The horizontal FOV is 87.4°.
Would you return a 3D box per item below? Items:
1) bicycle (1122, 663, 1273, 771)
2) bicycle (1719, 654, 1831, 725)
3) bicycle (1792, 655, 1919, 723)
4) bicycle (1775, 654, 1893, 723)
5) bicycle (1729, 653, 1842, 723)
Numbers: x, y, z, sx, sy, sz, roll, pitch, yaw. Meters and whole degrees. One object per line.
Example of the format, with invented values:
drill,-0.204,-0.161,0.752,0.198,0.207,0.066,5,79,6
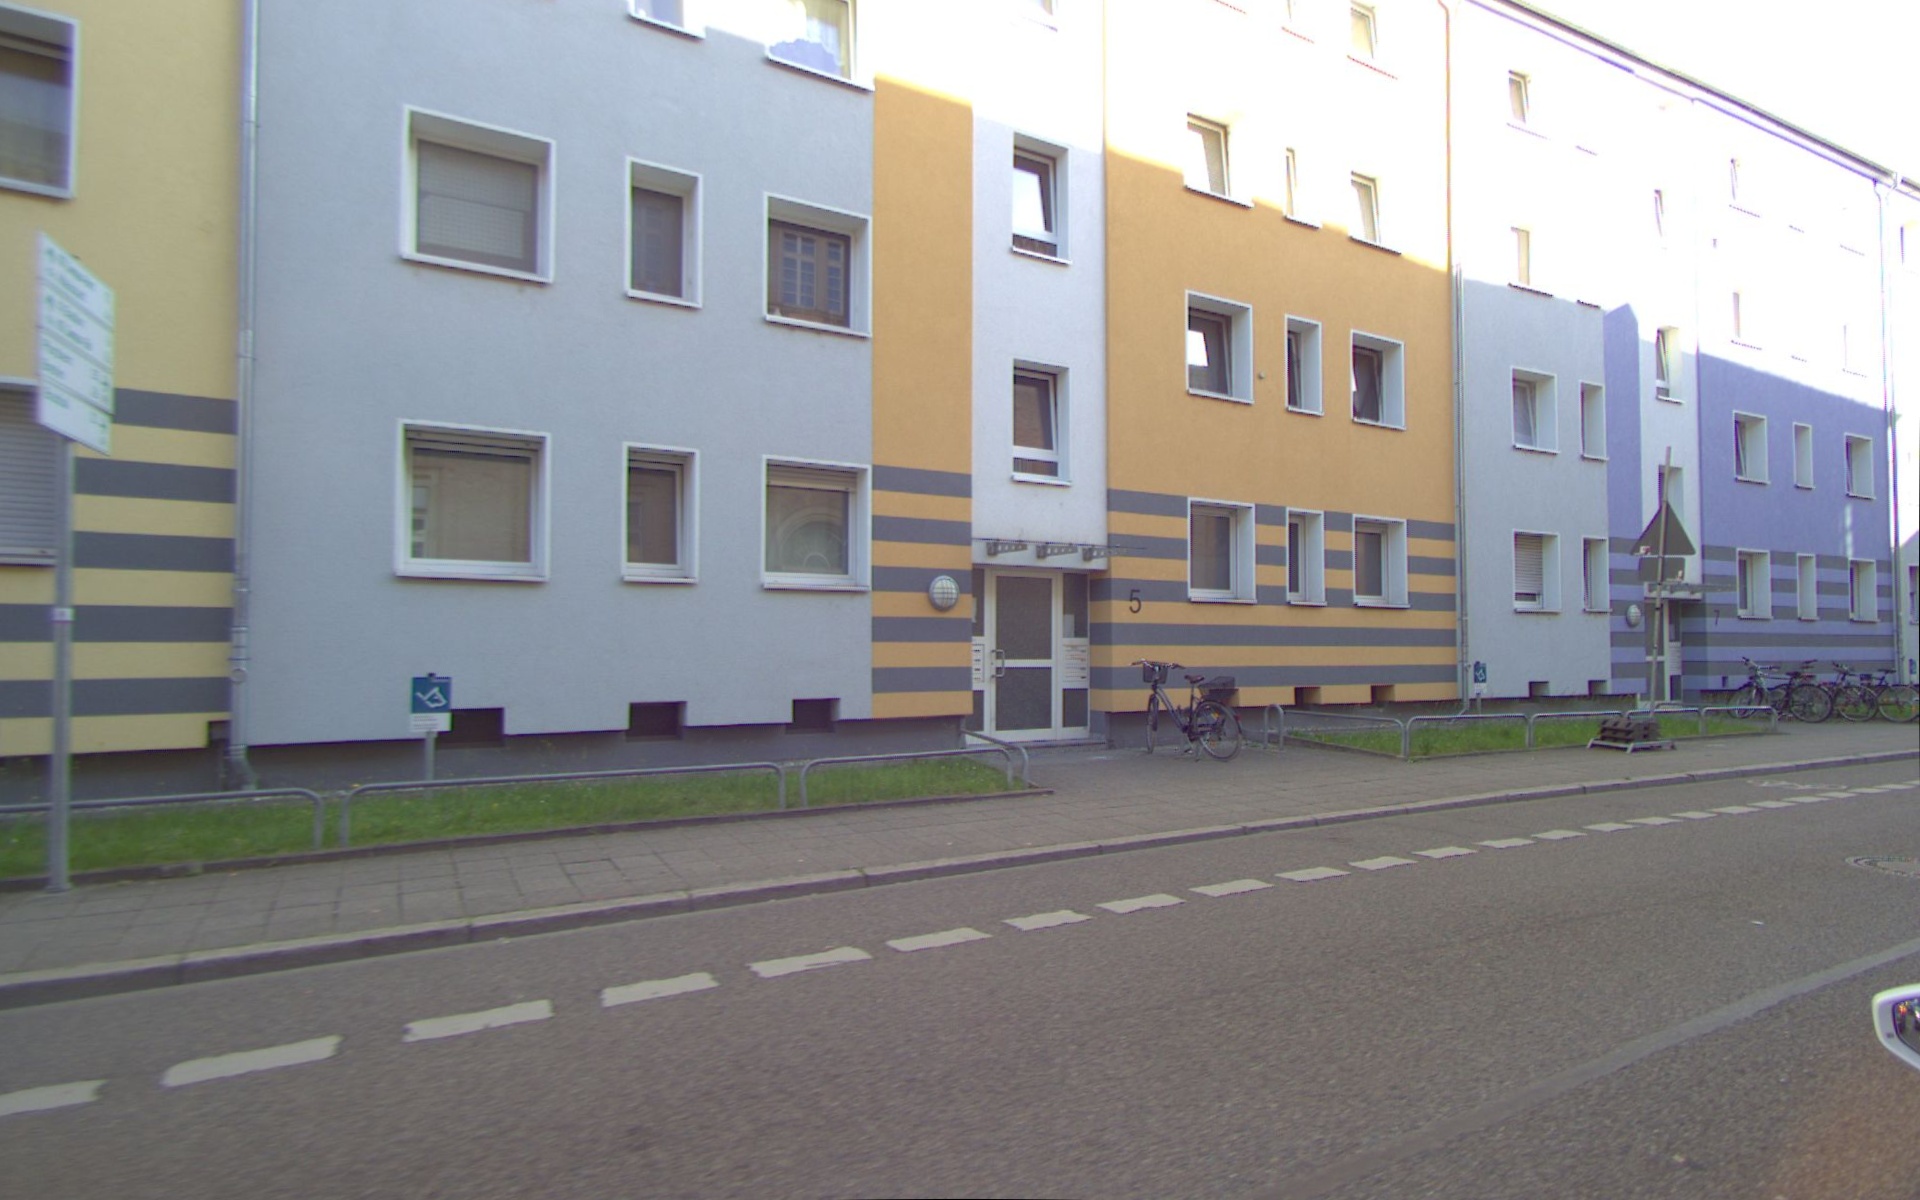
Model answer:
bicycle,2.775,1.337,11.896,0.645,1.160,1.739,2,-3,-37
bicycle,15.201,1.645,18.771,0.379,1.258,1.573,1,-3,-29
bicycle,17.496,1.690,19.469,0.615,1.247,2.000,1,-3,-29
bicycle,16.774,1.678,19.320,0.461,1.258,1.632,1,-3,-29
bicycle,15.559,1.634,18.978,0.444,1.258,1.578,1,-3,-29
